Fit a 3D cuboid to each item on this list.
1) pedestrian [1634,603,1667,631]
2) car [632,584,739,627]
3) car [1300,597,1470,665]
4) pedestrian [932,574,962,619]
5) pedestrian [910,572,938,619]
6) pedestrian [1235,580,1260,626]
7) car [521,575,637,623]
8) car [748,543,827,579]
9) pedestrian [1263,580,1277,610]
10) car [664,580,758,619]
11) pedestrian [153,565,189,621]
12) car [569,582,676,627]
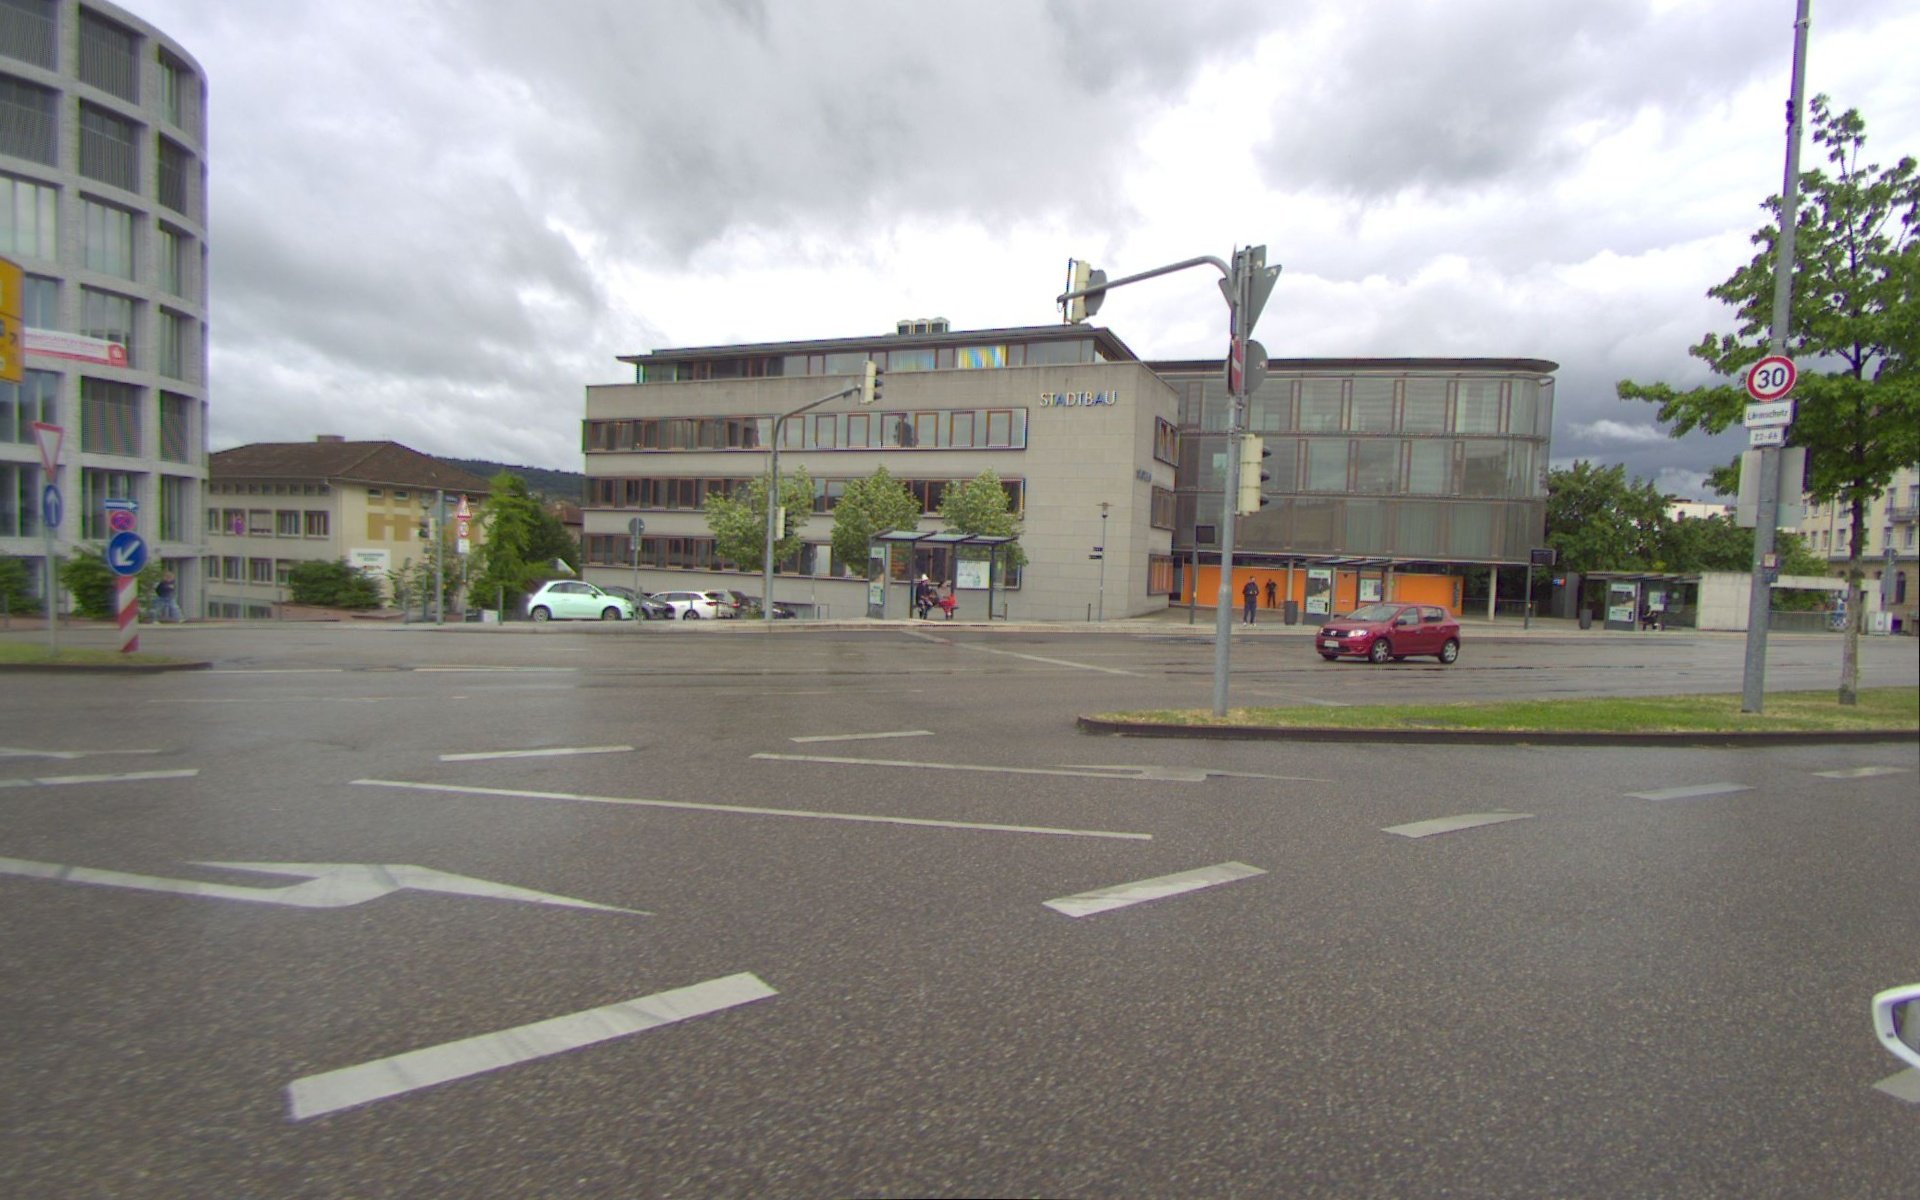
[{"bbox_3d":[34.036,0.830,49.533,0.834,1.285,0.977,2,5,-6],"label":"pedestrian"},{"bbox_3d":[-10.962,0.201,40.196,3.711,1.515,1.767,2,1,11],"label":"car"},{"bbox_3d":[10.794,0.771,25.498,3.980,1.573,1.816,1,1,-26],"label":"car"},{"bbox_3d":[-0.427,-0.105,32.597,0.712,1.411,0.675,1,1,-29],"label":"pedestrian"},{"bbox_3d":[-1.148,-0.142,32.295,0.618,1.488,0.675,1,1,-29],"label":"pedestrian"},{"bbox_3d":[10.866,0.113,37.983,0.752,1.706,0.473,1,1,-21],"label":"pedestrian"},{"bbox_3d":[-13.174,-0.040,34.883,3.520,1.515,1.629,2,1,-12],"label":"car"},{"bbox_3d":[-7.920,-1.770,46.291,3.517,1.515,1.630,2,1,-9],"label":"car"},{"bbox_3d":[17.671,-0.290,57.260,0.630,1.706,0.475,2,1,4],"label":"pedestrian"},{"bbox_3d":[-10.593,-0.036,42.798,3.509,1.515,1.634,2,1,11],"label":"car"},{"bbox_3d":[-23.430,-0.213,29.839,0.697,1.604,0.668,2,1,-29],"label":"pedestrian"},{"bbox_3d":[-12.360,0.147,36.923,3.520,1.515,1.629,2,1,-12],"label":"car"}]
